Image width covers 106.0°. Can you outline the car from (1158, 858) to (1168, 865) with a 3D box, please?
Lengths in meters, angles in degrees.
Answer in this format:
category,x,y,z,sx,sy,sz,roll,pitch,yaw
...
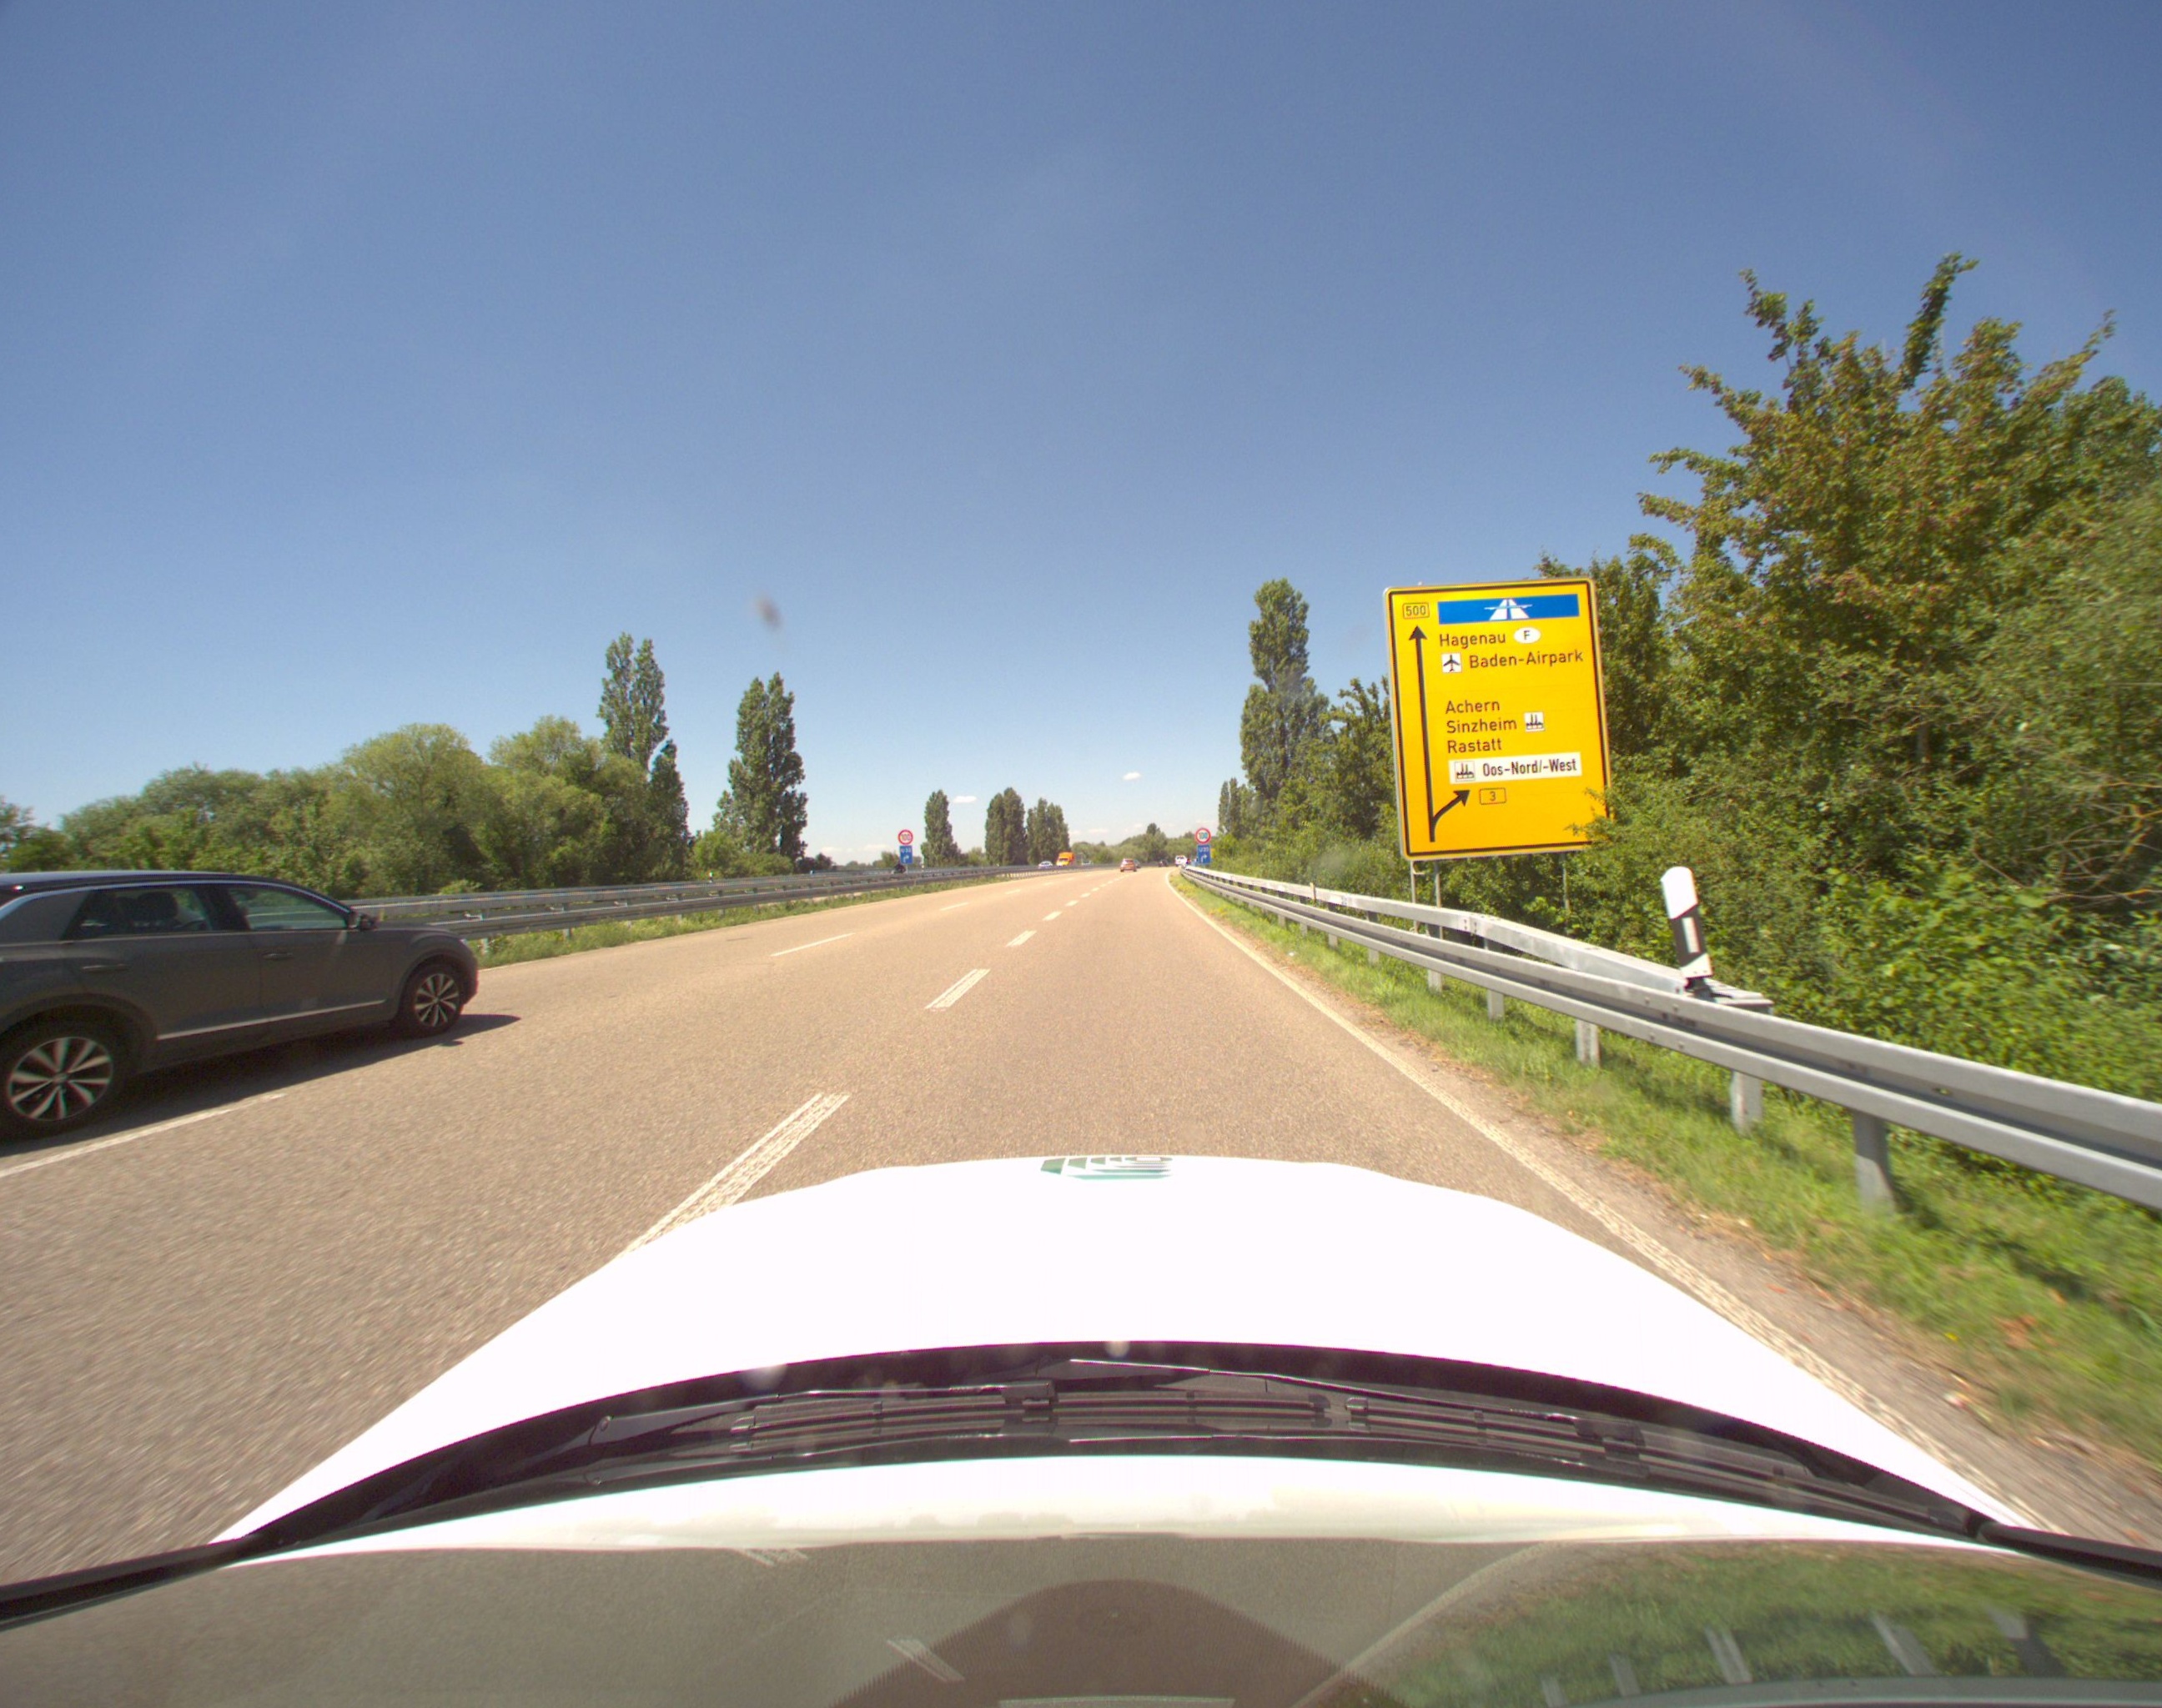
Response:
category,x,y,z,sx,sy,sz,roll,pitch,yaw
car,18.504,1.662,182.782,1.932,1.464,4.010,-1,0,9

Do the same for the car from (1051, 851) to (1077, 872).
category,x,y,z,sx,sy,sz,roll,pitch,yaw
car,-2.669,1.209,133.227,2.288,3.292,7.056,-3,-1,15

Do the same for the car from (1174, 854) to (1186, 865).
category,x,y,z,sx,sy,sz,roll,pitch,yaw
car,17.842,0.934,146.704,1.829,1.895,4.013,-1,0,12

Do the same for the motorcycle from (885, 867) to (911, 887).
category,x,y,z,sx,sy,sz,roll,pitch,yaw
motorcycle,-10.862,1.367,48.368,0.788,1.144,2.531,-3,-2,3

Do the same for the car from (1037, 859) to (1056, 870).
category,x,y,z,sx,sy,sz,roll,pitch,yaw
car,-5.062,1.512,119.452,1.842,1.432,4.807,-3,-1,9

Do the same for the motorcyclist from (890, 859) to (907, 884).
category,x,y,z,sx,sy,sz,roll,pitch,yaw
motorcyclist,-10.862,1.028,48.466,0.788,1.434,0.768,-3,-2,2

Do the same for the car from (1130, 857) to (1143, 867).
category,x,y,z,sx,sy,sz,roll,pitch,yaw
car,9.175,1.292,134.836,1.831,1.451,4.008,-1,0,7

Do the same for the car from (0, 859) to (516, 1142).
category,x,y,z,sx,sy,sz,roll,pitch,yaw
car,-6.801,0.838,6.121,1.834,1.530,4.472,-1,0,2

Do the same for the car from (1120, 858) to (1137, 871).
category,x,y,z,sx,sy,sz,roll,pitch,yaw
car,5.394,1.192,92.698,1.833,1.464,4.005,-1,0,4

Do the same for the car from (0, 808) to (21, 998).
category,x,y,z,sx,sy,sz,roll,pitch,yaw
car,-17.021,0.678,8.514,2.270,2.774,7.224,-3,-2,2
